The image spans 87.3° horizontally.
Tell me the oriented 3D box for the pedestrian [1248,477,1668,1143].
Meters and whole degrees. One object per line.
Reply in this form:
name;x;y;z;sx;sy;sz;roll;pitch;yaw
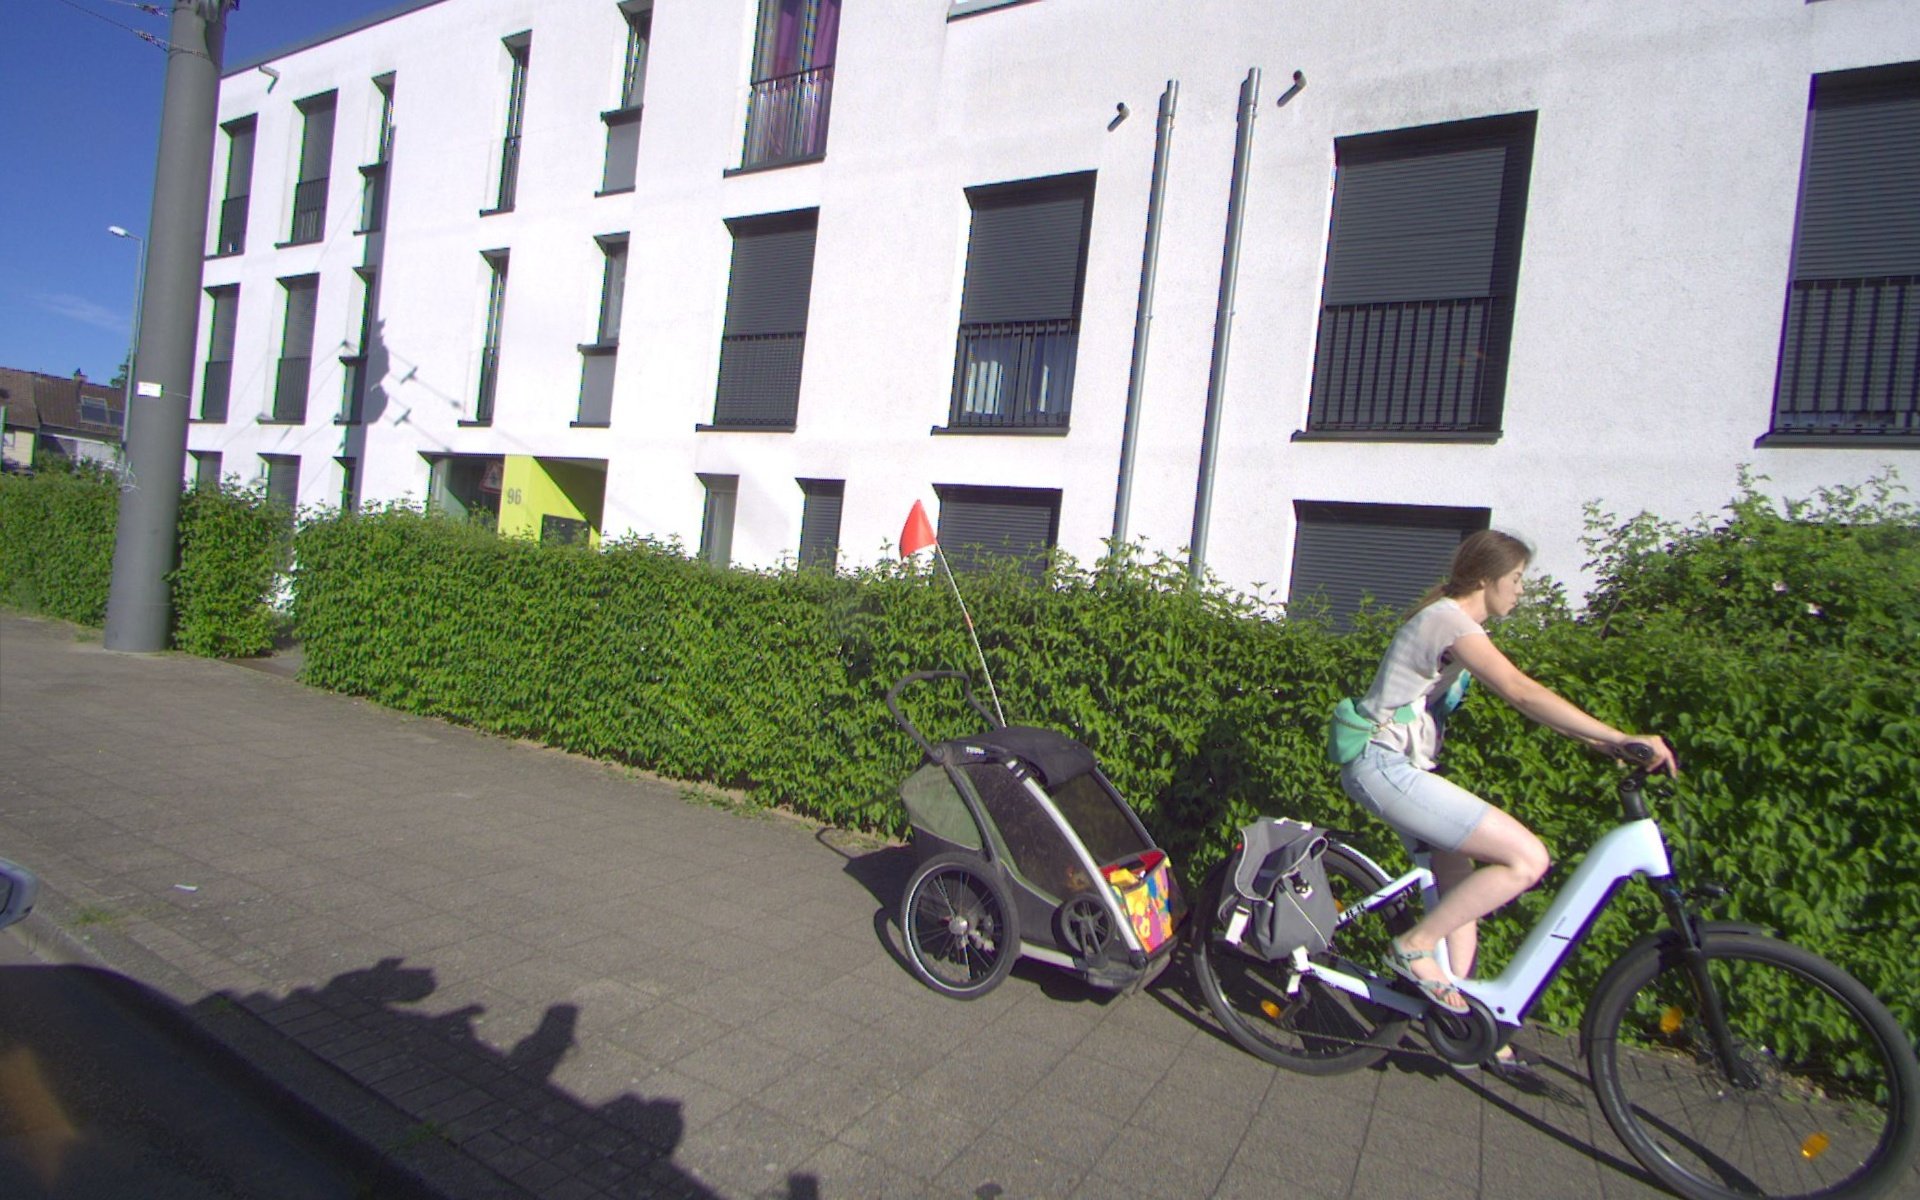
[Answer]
pedestrian;1.499;0.519;3.065;0.840;1.614;0.911;7;1;30

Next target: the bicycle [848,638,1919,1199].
bicycle;1.204;0.898;3.229;3.072;1.188;0.930;6;1;30
